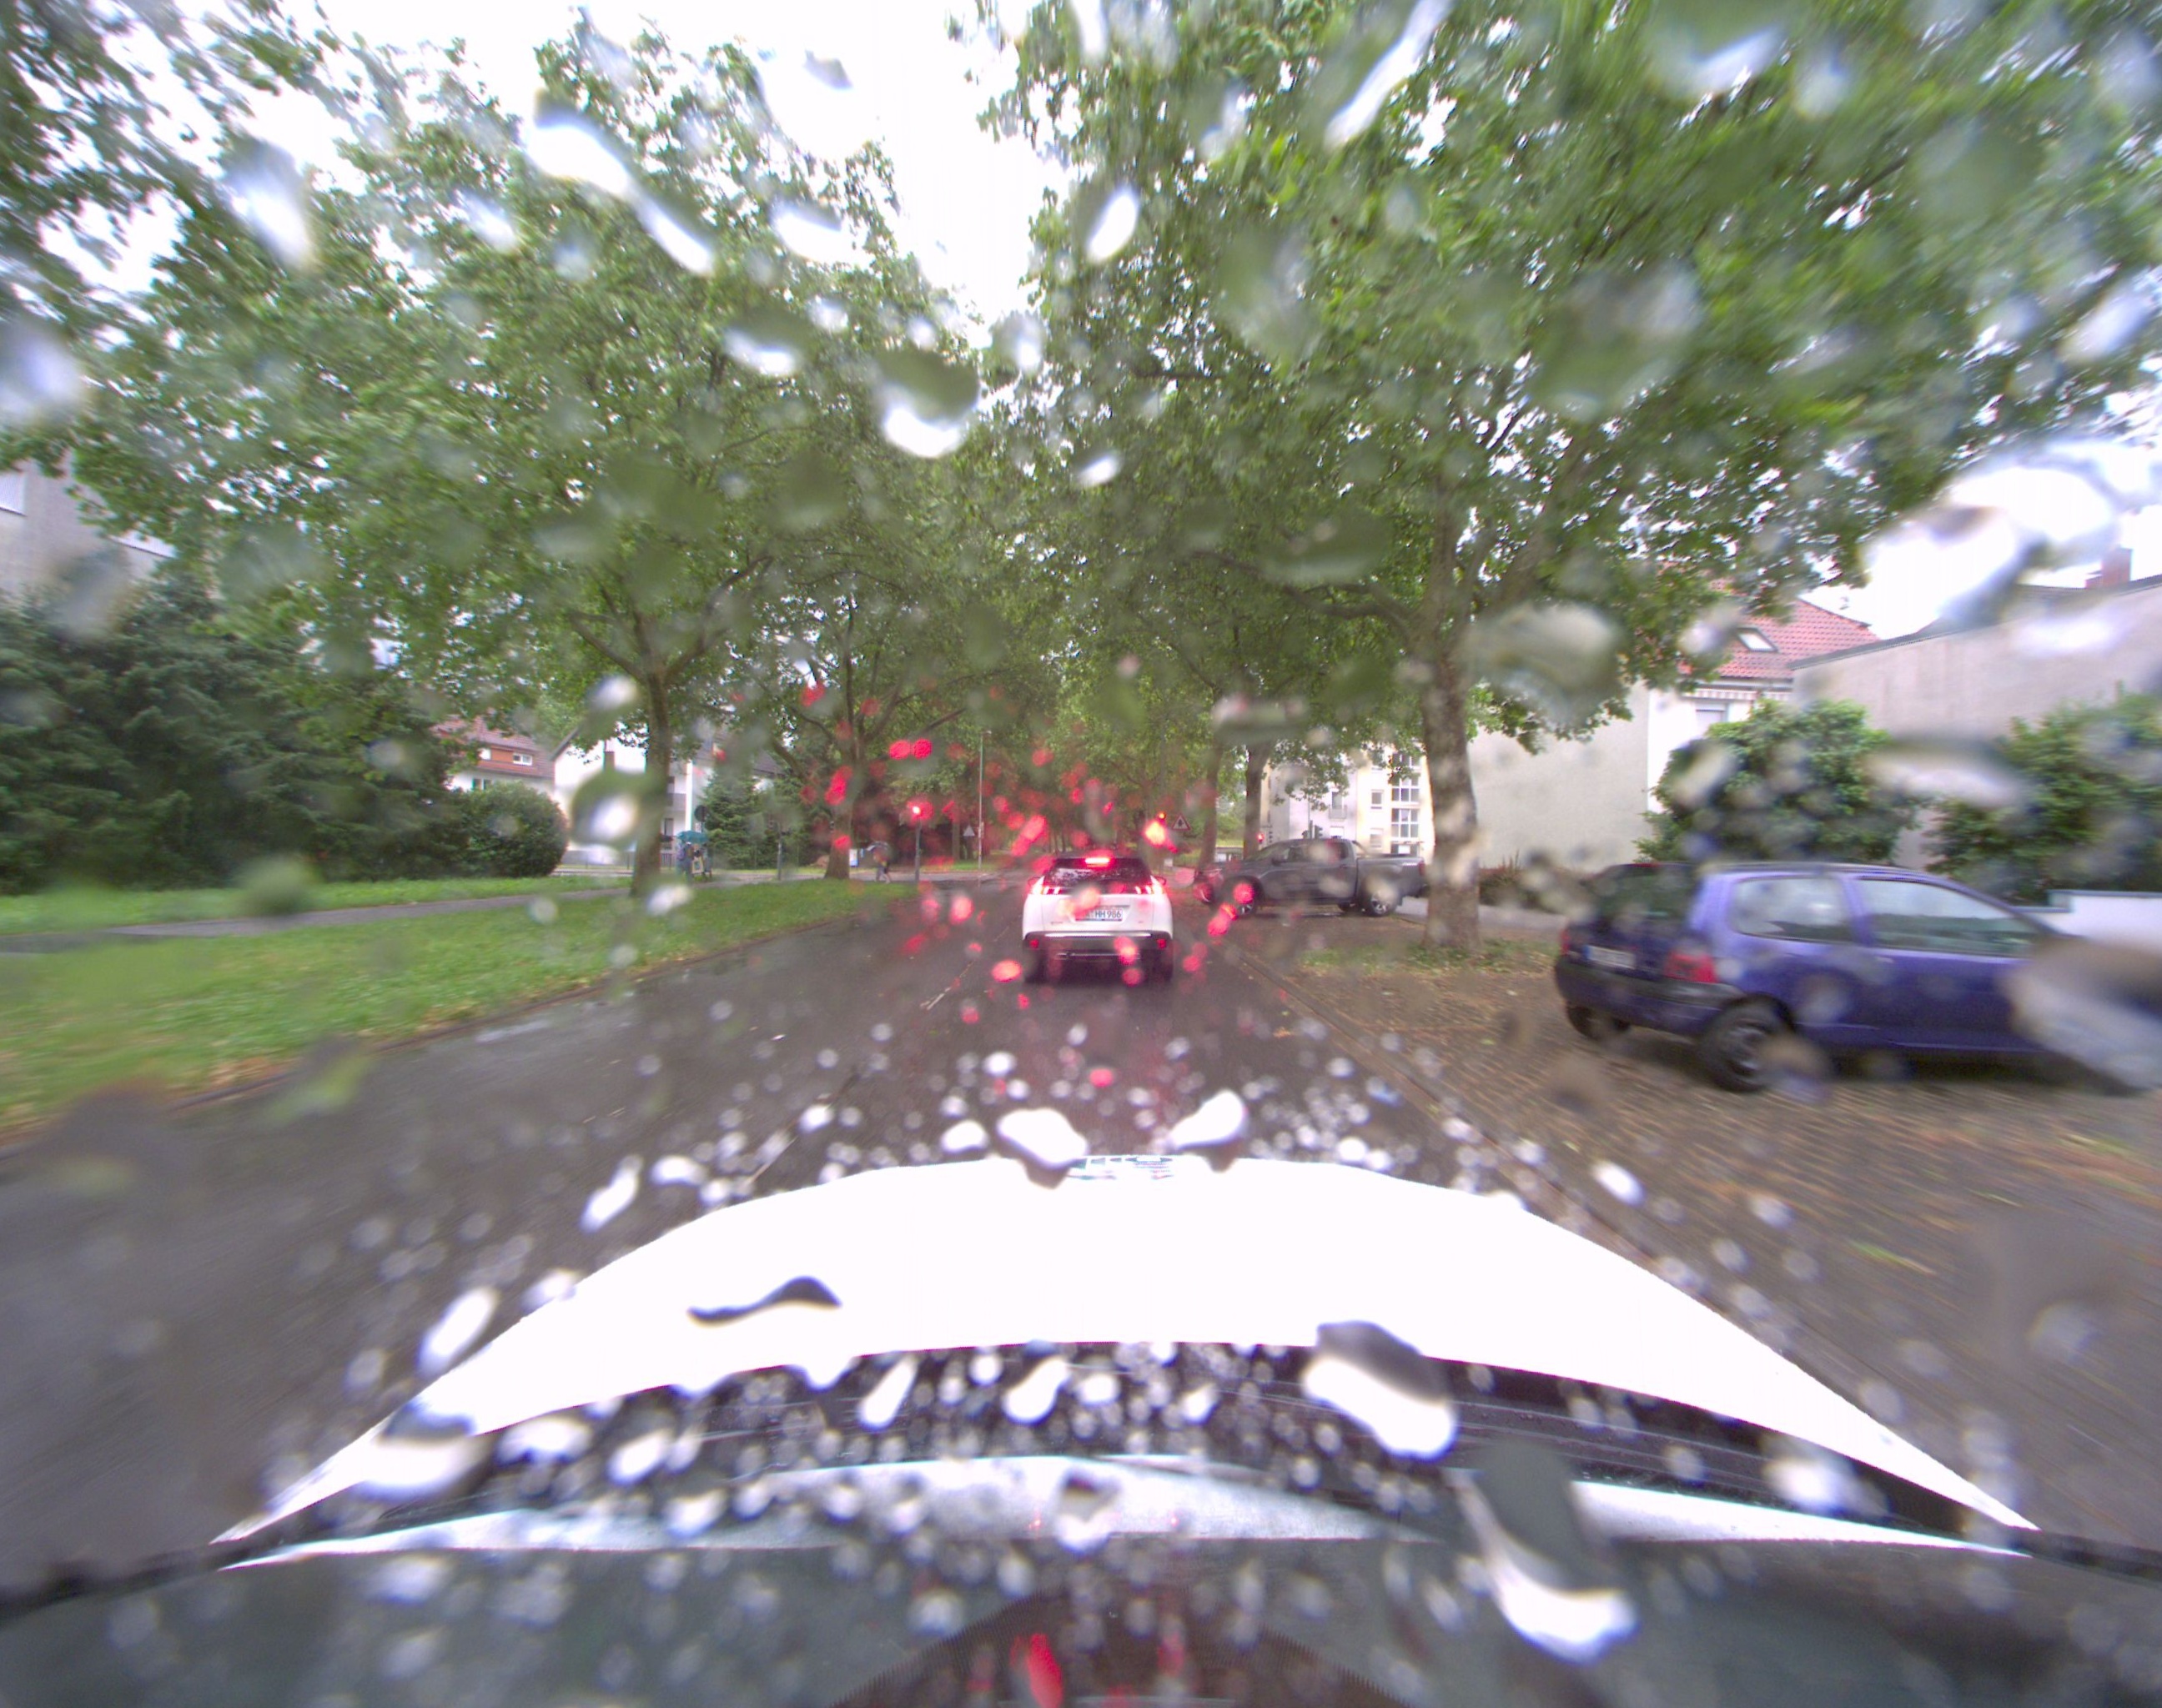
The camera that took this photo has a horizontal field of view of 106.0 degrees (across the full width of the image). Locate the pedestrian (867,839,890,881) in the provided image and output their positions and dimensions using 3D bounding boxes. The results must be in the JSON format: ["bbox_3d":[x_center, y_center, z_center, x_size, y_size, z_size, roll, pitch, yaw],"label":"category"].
[{"bbox_3d":[-8.560,0.257,34.481,0.818,1.744,0.639,1,0,-2],"label":"pedestrian"}]

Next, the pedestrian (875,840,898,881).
[{"bbox_3d":[-8.434,0.293,35.311,0.856,1.744,0.639,1,0,-2],"label":"pedestrian"}]

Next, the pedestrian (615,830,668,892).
[{"bbox_3d":[-12.762,0.189,23.689,1.029,1.765,0.879,0,0,1],"label":"pedestrian"}]

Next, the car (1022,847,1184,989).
[{"bbox_3d":[0.294,0.686,10.929,1.774,1.536,4.059,0,1,1],"label":"car"}]

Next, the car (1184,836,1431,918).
[{"bbox_3d":[5.230,0.490,19.189,5.330,1.806,1.842,0,0,-6],"label":"car"}]

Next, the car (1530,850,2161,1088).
[{"bbox_3d":[5.335,0.708,5.850,3.344,1.464,1.619,0,0,0],"label":"car"}]

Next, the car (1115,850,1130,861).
[{"bbox_3d":[5.836,0.186,115.089,1.901,1.510,3.928,0,1,-2],"label":"car"}]

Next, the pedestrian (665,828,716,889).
[{"bbox_3d":[-11.366,0.126,23.732,1.029,1.765,0.838,0,0,1],"label":"pedestrian"}]
